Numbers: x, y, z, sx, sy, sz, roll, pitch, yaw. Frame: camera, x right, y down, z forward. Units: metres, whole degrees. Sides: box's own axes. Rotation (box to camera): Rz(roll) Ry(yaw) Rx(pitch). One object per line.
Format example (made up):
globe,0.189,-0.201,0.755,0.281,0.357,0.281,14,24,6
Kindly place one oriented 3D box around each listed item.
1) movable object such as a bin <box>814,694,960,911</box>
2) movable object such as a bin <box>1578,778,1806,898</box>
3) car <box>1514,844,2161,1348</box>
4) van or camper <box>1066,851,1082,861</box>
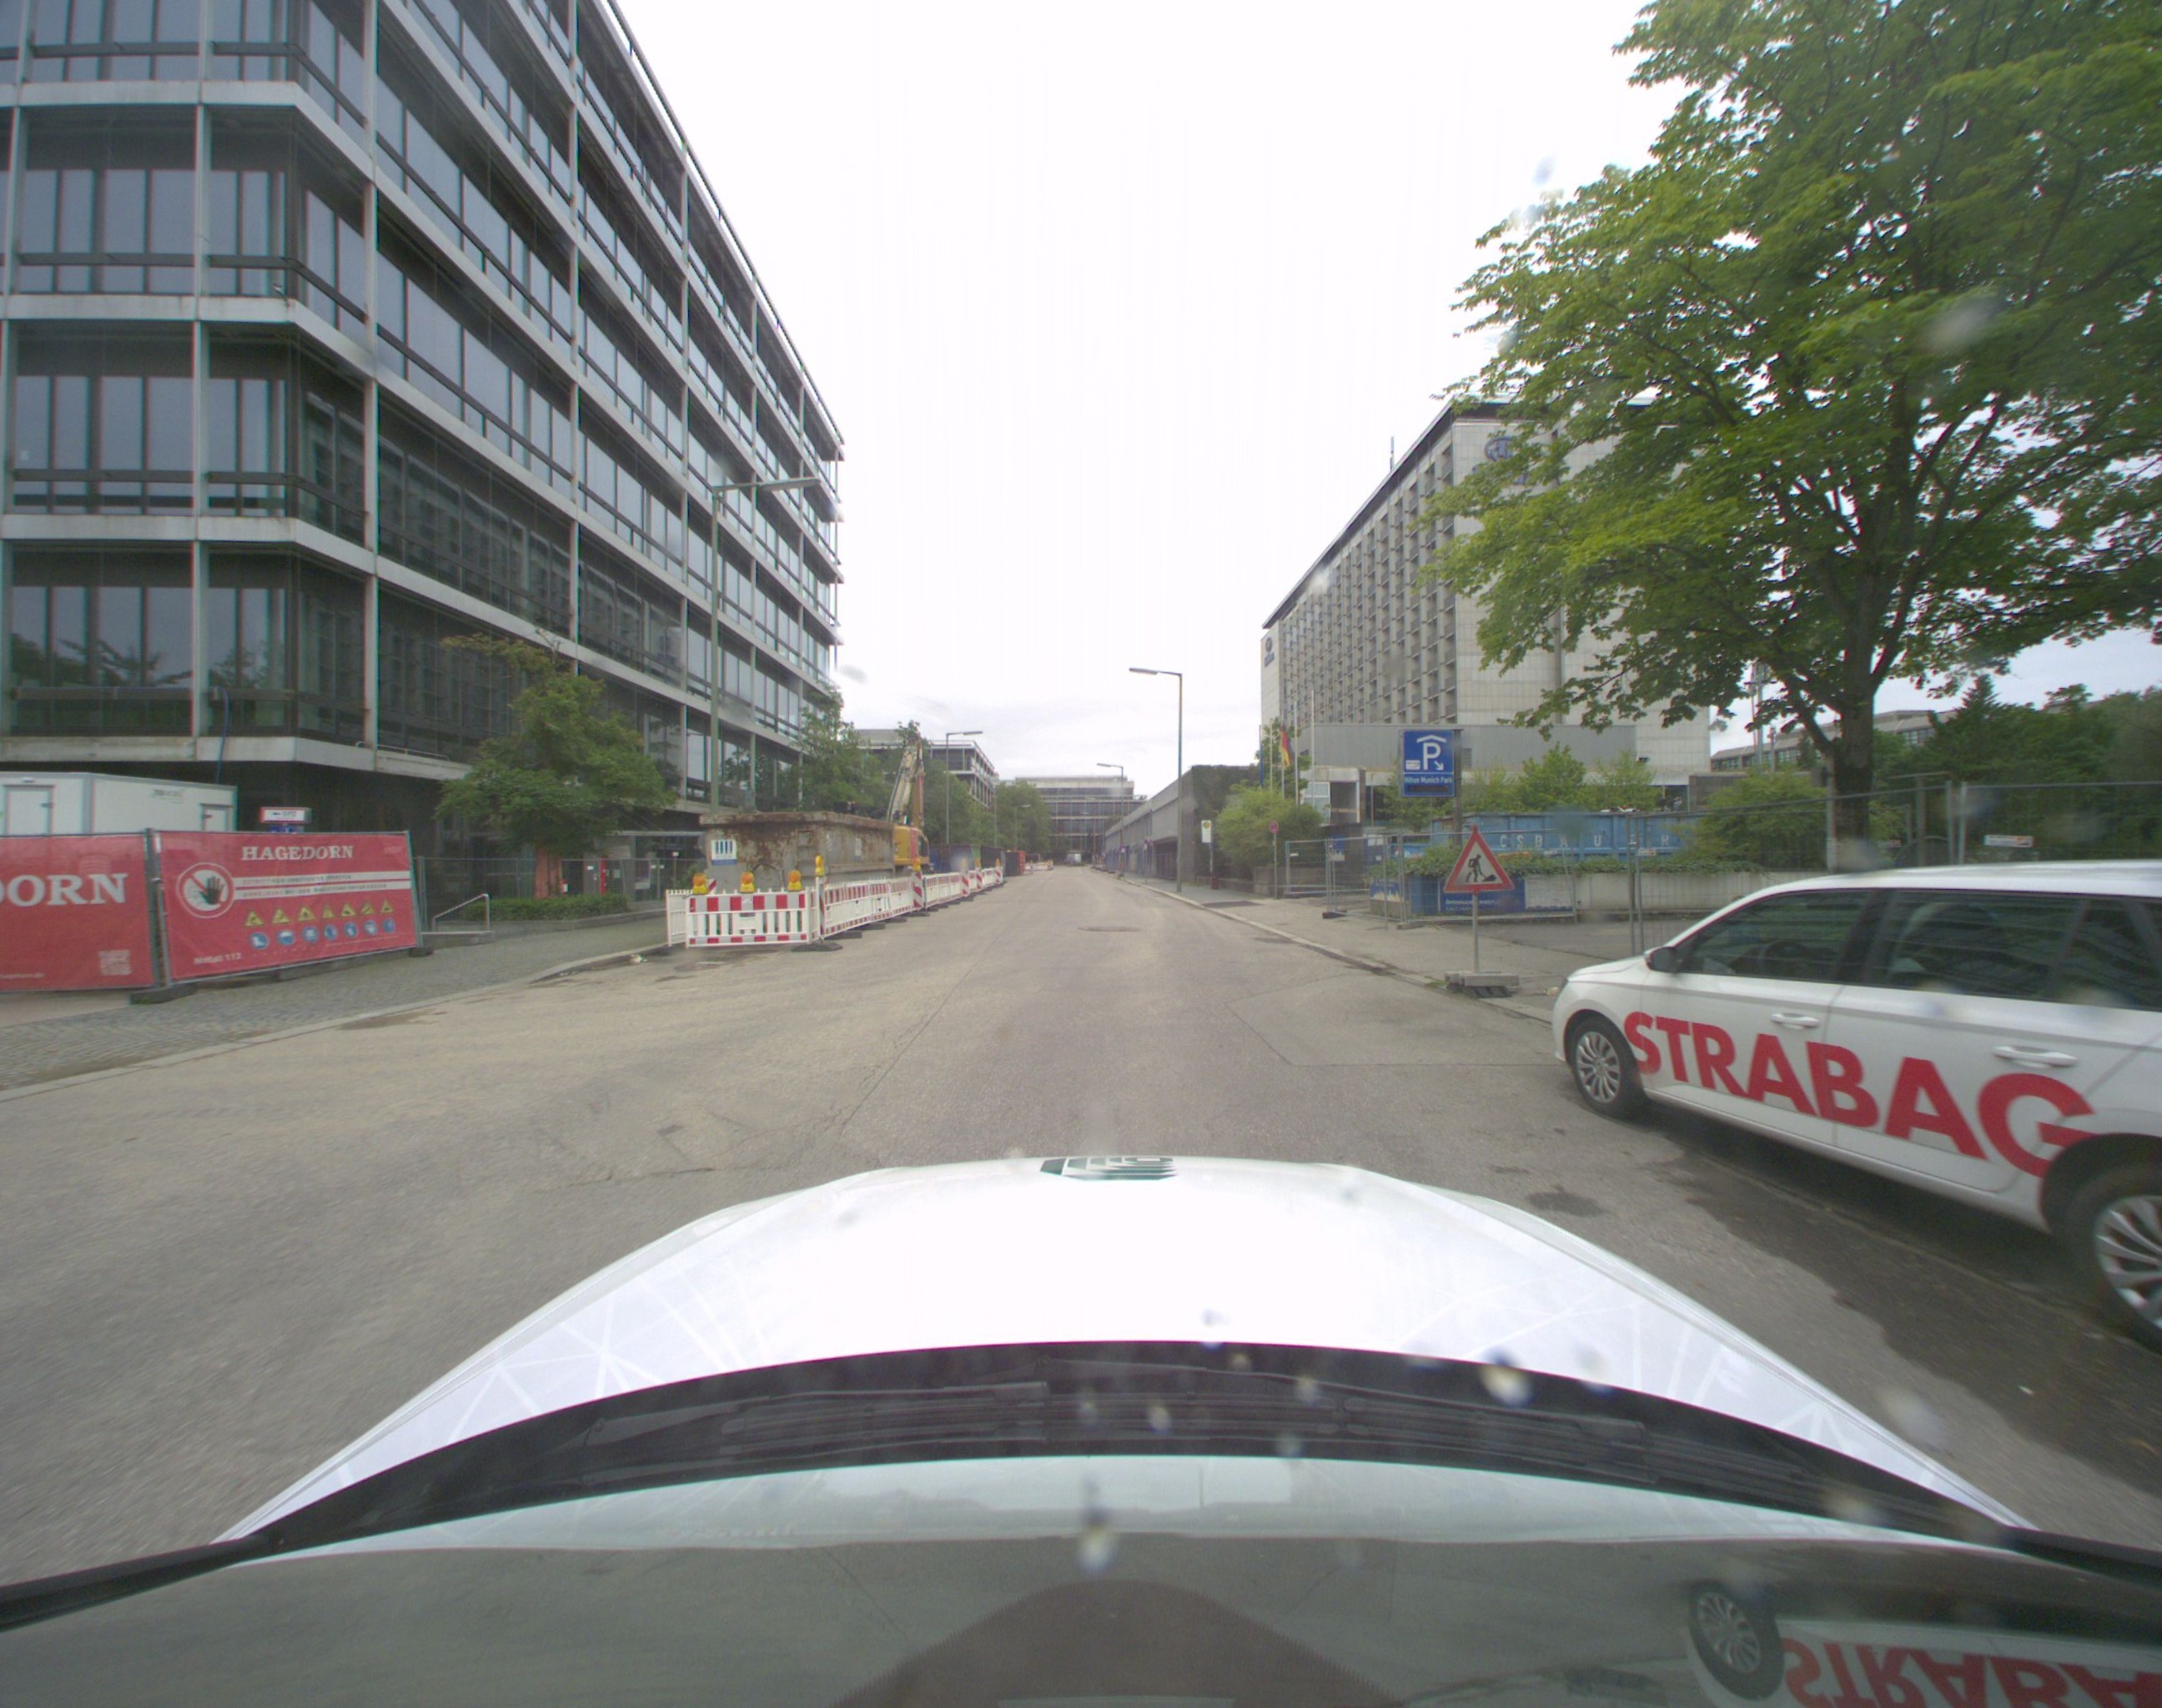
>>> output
movable object such as a bin,-6.738,-1.489,30.472,2.896,6.565,11.775,-1,-1,-2
movable object such as a bin,21.408,-0.519,28.511,7.199,3.683,3.854,-1,0,-30
car,3.887,0.738,3.654,1.529,1.492,4.055,-1,-1,-3
van or camper,-1.692,0.394,203.500,2.096,2.492,5.023,0,0,-27
